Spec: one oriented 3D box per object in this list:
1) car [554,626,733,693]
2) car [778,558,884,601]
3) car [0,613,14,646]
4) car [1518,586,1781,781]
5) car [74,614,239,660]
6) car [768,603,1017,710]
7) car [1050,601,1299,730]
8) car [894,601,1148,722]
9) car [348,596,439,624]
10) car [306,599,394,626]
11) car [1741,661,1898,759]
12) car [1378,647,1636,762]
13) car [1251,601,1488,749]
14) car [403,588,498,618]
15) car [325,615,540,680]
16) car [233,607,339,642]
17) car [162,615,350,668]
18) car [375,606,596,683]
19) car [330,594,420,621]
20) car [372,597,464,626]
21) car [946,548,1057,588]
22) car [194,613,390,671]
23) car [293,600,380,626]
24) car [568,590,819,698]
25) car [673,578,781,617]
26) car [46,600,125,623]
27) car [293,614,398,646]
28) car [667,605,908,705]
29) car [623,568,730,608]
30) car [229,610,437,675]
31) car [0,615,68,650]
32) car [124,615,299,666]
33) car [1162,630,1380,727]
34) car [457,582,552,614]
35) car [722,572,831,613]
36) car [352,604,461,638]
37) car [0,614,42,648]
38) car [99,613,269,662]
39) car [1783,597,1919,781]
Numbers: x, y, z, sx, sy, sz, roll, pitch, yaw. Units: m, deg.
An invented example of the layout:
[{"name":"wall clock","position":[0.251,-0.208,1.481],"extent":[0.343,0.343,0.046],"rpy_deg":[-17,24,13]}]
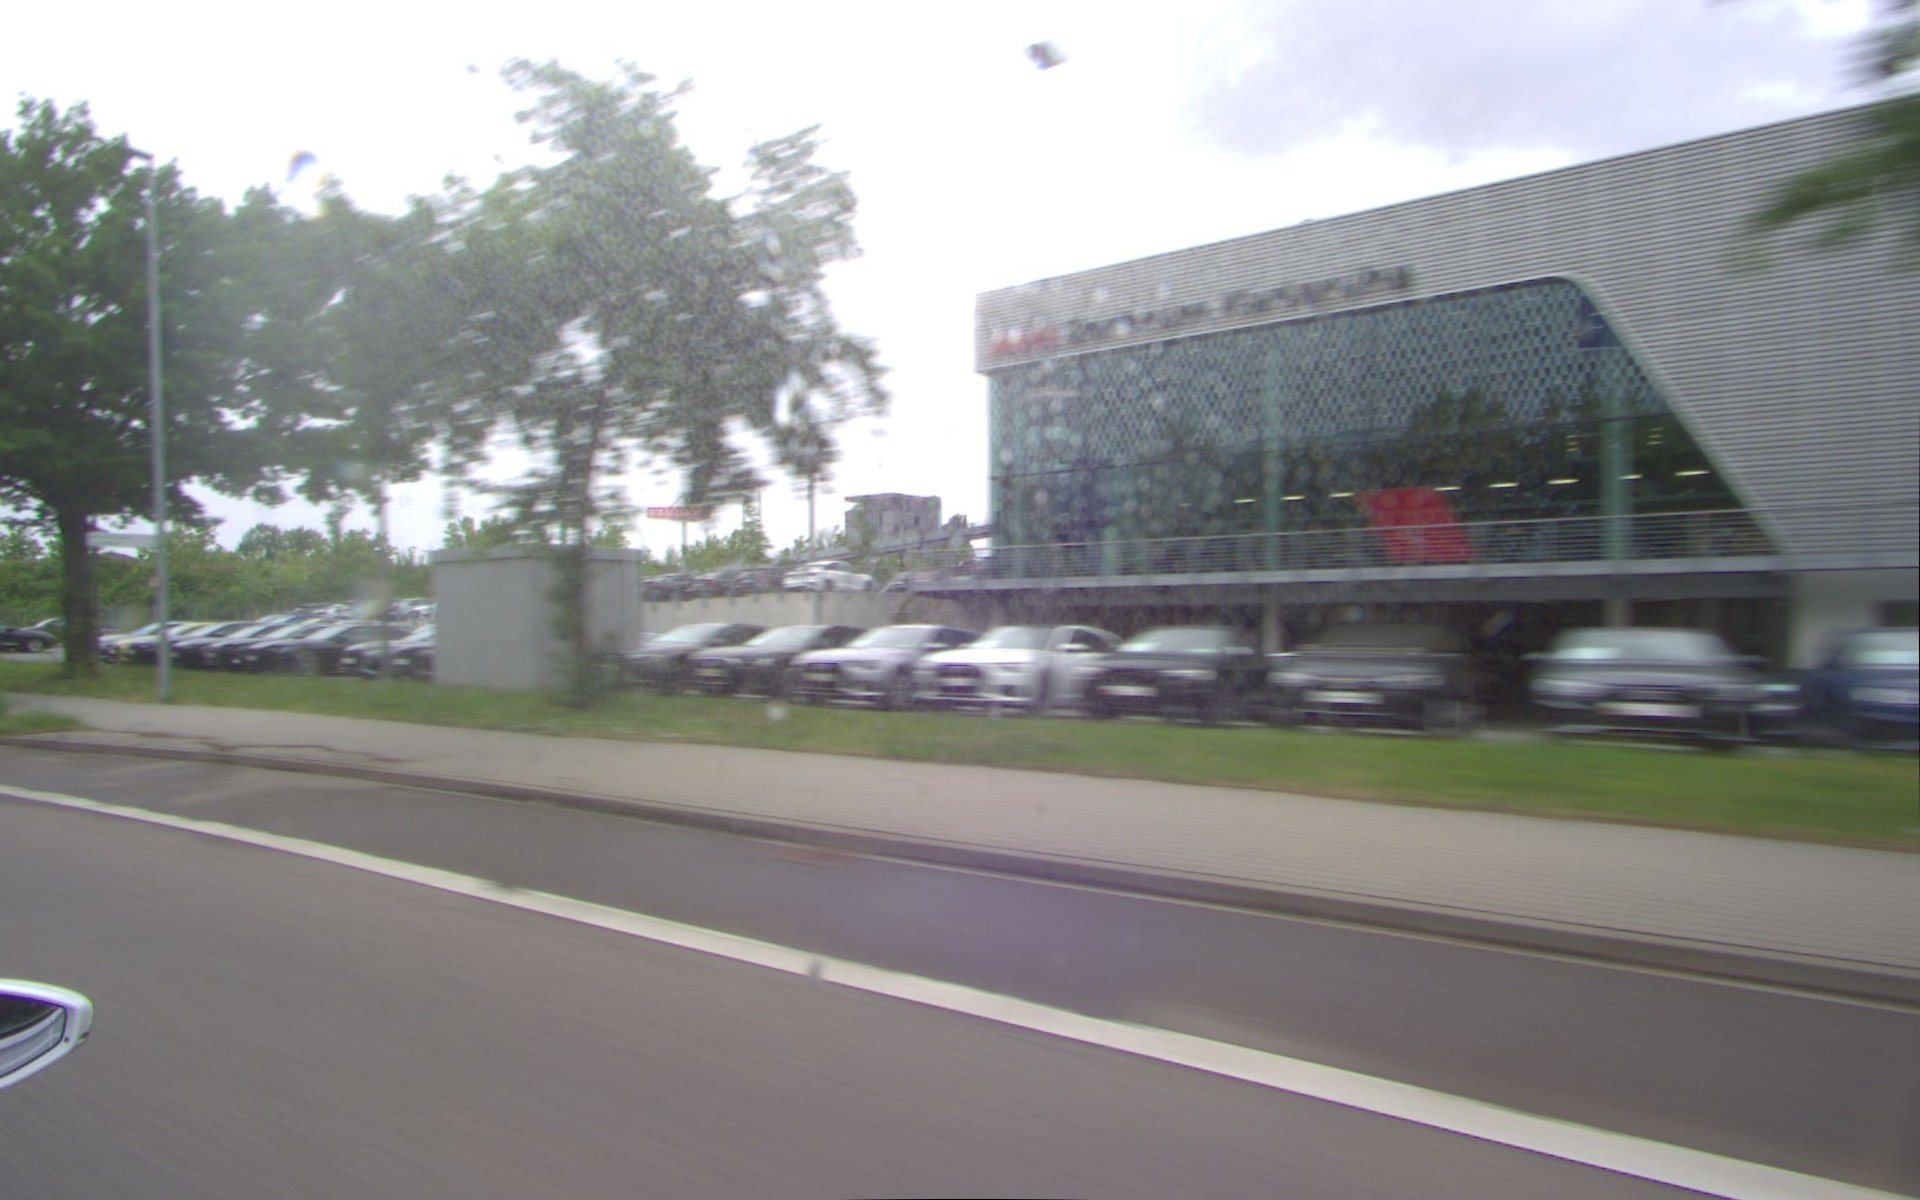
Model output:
[{"name":"car","position":[-7.355,1.316,23.171],"extent":[3.944,1.350,1.914],"rpy_deg":[-1,0,34]},{"name":"car","position":[-5.027,-0.769,39.563],"extent":[1.854,1.516,4.329],"rpy_deg":[2,0,32]},{"name":"car","position":[-45.916,1.332,45.569],"extent":[1.709,1.454,3.971],"rpy_deg":[2,0,39]},{"name":"car","position":[7.491,0.911,11.022],"extent":[1.972,1.682,4.171],"rpy_deg":[1,-5,34]},{"name":"car","position":[-27.469,1.242,34.355],"extent":[1.705,1.454,4.079],"rpy_deg":[2,0,32]},{"name":"car","position":[-0.995,1.024,17.086],"extent":[2.001,1.522,4.290],"rpy_deg":[0,-6,34]},{"name":"car","position":[3.173,0.998,14.119],"extent":[1.972,1.486,4.172],"rpy_deg":[2,-5,34]},{"name":"car","position":[1.116,1.038,15.675],"extent":[1.972,1.538,4.390],"rpy_deg":[2,-5,34]},{"name":"car","position":[-31.396,0.595,55.621],"extent":[1.705,1.454,4.079],"rpy_deg":[2,0,32]},{"name":"car","position":[-35.527,0.739,58.404],"extent":[1.705,1.454,4.079],"rpy_deg":[2,0,32]},{"name":"car","position":[15.660,1.929,18.430],"extent":[1.626,1.420,3.749],"rpy_deg":[2,0,32]},{"name":"car","position":[9.959,1.807,18.370],"extent":[3.943,1.684,1.889],"rpy_deg":[1,0,33]},{"name":"car","position":[5.263,0.966,12.518],"extent":[1.907,1.473,4.171],"rpy_deg":[1,-5,34]},{"name":"car","position":[-26.976,0.197,53.139],"extent":[1.705,1.454,4.192],"rpy_deg":[2,0,32]},{"name":"car","position":[-13.027,1.238,24.977],"extent":[1.973,1.409,4.287],"rpy_deg":[-1,-5,34]},{"name":"car","position":[-33.784,1.252,50.276],"extent":[1.705,1.641,4.079],"rpy_deg":[2,0,32]},{"name":"car","position":[-21.334,1.242,30.510],"extent":[1.817,1.507,4.336],"rpy_deg":[0,-2,32]},{"name":"car","position":[-11.036,1.104,23.574],"extent":[1.973,1.583,4.254],"rpy_deg":[-1,-5,34]},{"name":"car","position":[-33.383,0.437,57.245],"extent":[1.705,1.454,4.079],"rpy_deg":[2,0,32]},{"name":"car","position":[-29.316,0.624,54.290],"extent":[1.705,1.454,4.079],"rpy_deg":[2,0,32]},{"name":"car","position":[1.654,-1.264,40.118],"extent":[4.120,1.454,1.721],"rpy_deg":[1,0,32]},{"name":"car","position":[-19.370,1.275,29.249],"extent":[1.902,1.522,4.338],"rpy_deg":[0,-4,32]},{"name":"car","position":[-37.085,0.790,59.683],"extent":[1.705,1.454,4.079],"rpy_deg":[2,0,32]},{"name":"car","position":[-5.109,0.945,19.826],"extent":[1.972,1.722,4.546],"rpy_deg":[2,-5,34]},{"name":"car","position":[-9.759,-0.082,42.232],"extent":[1.941,1.516,4.329],"rpy_deg":[2,0,32]},{"name":"car","position":[-61.855,0.826,70.865],"extent":[1.709,1.454,3.971],"rpy_deg":[2,0,39]},{"name":"car","position":[-30.114,1.446,49.157],"extent":[1.705,1.454,4.079],"rpy_deg":[2,0,32]},{"name":"car","position":[-3.016,1.064,18.339],"extent":[1.932,1.463,4.172],"rpy_deg":[2,-5,34]},{"name":"car","position":[-12.161,-0.489,43.195],"extent":[1.854,1.516,4.329],"rpy_deg":[2,0,32]},{"name":"car","position":[-17.300,1.222,27.848],"extent":[1.971,1.590,4.441],"rpy_deg":[0,-5,32]},{"name":"car","position":[-41.098,1.392,42.987],"extent":[1.709,1.454,3.971],"rpy_deg":[2,0,39]},{"name":"car","position":[-23.617,1.256,31.733],"extent":[1.795,1.454,4.079],"rpy_deg":[2,0,32]},{"name":"car","position":[6.428,1.539,20.783],"extent":[3.943,1.684,1.889],"rpy_deg":[1,0,33]},{"name":"car","position":[-22.791,-0.068,50.203],"extent":[1.705,1.454,4.079],"rpy_deg":[2,0,32]},{"name":"car","position":[-7.460,-0.298,41.137],"extent":[2.039,1.516,4.329],"rpy_deg":[2,0,32]},{"name":"car","position":[-25.594,0.987,46.418],"extent":[1.705,1.454,4.079],"rpy_deg":[2,0,32]},{"name":"car","position":[-43.289,1.351,44.146],"extent":[1.709,1.454,3.971],"rpy_deg":[2,0,39]},{"name":"car","position":[-25.549,1.202,33.116],"extent":[1.819,1.454,4.079],"rpy_deg":[2,0,32]},{"name":"car","position":[9.506,0.940,9.657],"extent":[1.949,1.503,4.178],"rpy_deg":[2,-5,33]}]
